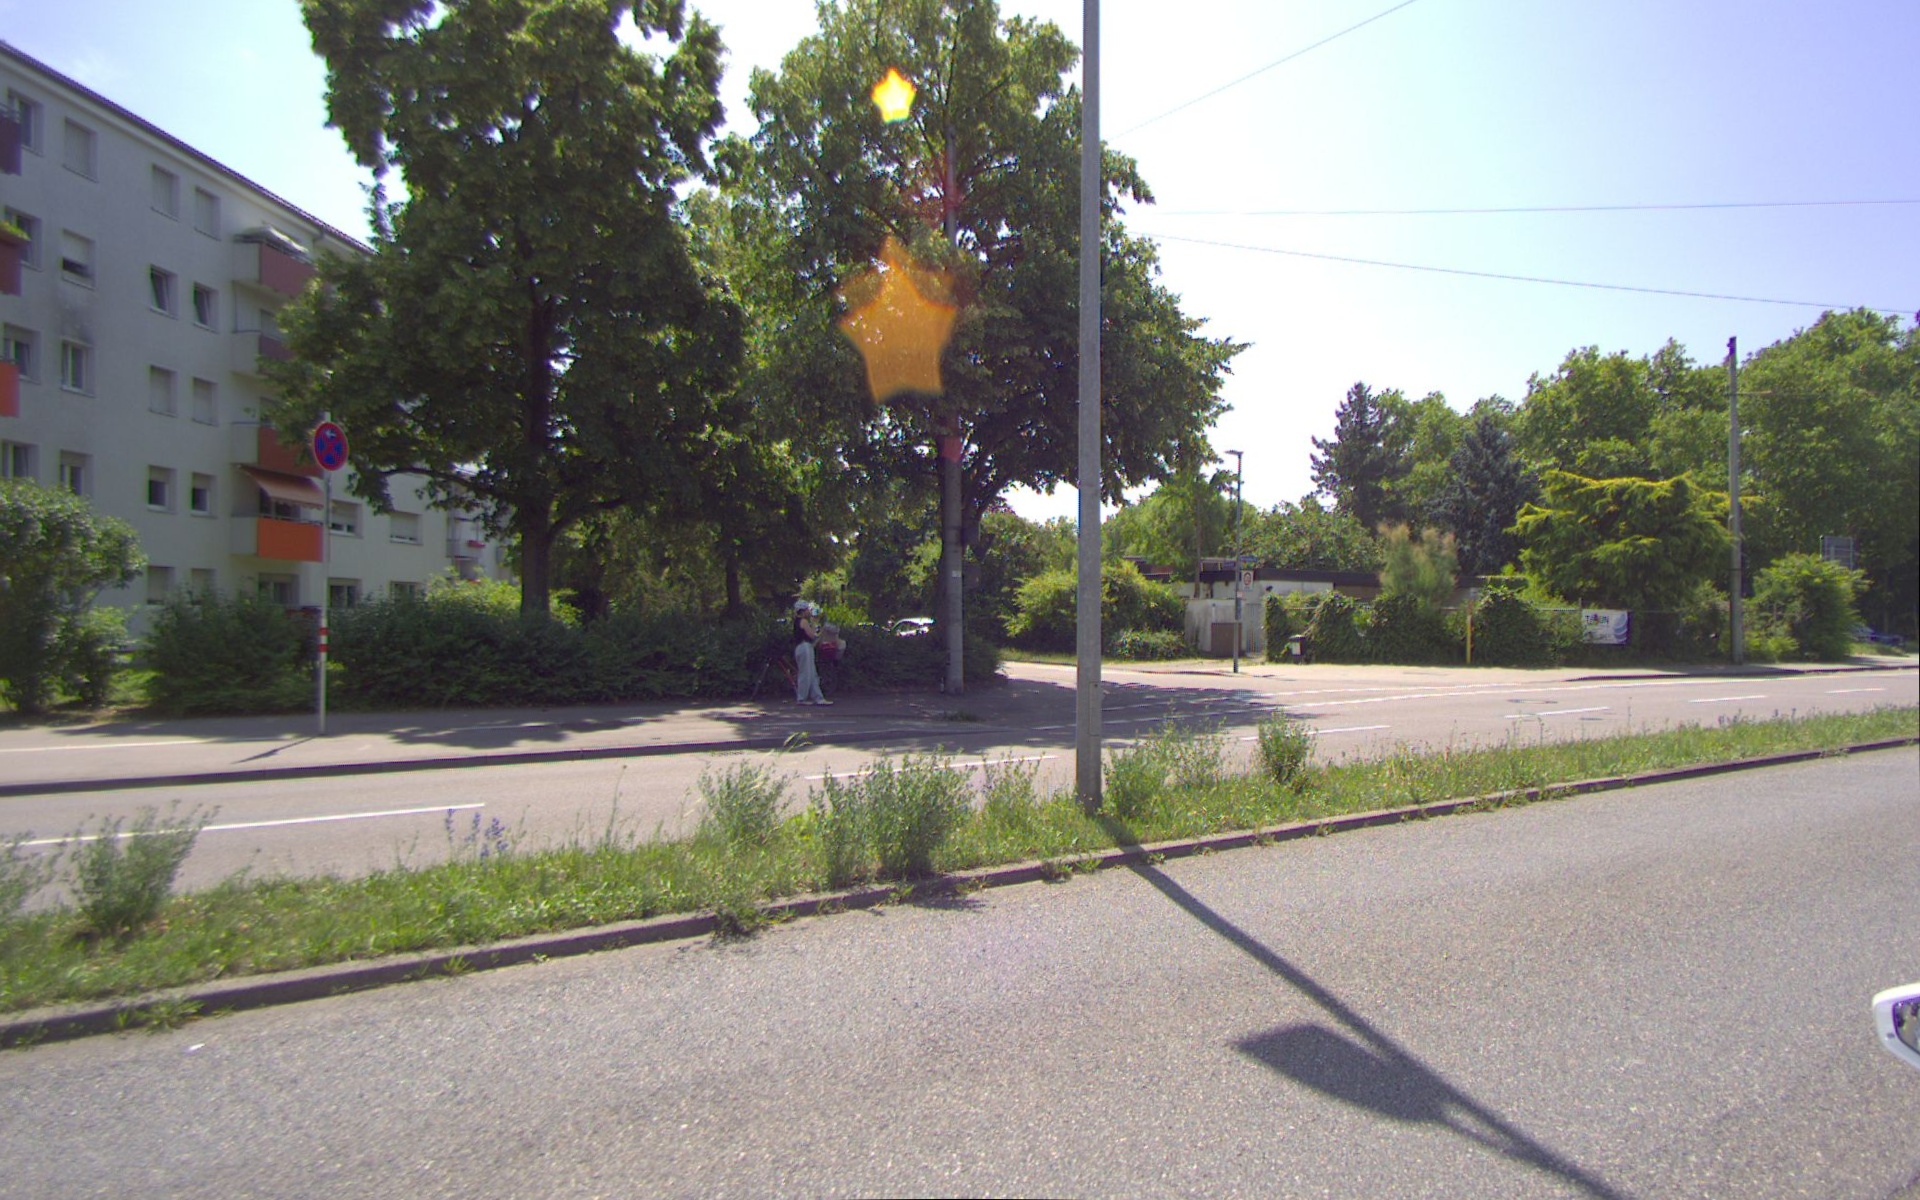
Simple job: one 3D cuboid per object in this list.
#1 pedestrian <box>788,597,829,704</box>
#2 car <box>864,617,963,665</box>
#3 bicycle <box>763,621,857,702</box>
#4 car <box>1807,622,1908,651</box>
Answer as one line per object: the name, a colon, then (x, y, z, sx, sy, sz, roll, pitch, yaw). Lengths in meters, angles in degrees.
pedestrian: (-2.525, 0.828, 16.746, 0.594, 1.741, 0.549, 1, -1, -16)
car: (-1.759, 1.452, 36.415, 1.977, 1.634, 3.967, 1, -1, -31)
bicycle: (-2.603, 1.051, 17.401, 1.548, 1.345, 0.645, 1, -1, -17)
car: (51.250, 2.063, 57.465, 1.744, 1.600, 3.985, 1, -1, -18)
